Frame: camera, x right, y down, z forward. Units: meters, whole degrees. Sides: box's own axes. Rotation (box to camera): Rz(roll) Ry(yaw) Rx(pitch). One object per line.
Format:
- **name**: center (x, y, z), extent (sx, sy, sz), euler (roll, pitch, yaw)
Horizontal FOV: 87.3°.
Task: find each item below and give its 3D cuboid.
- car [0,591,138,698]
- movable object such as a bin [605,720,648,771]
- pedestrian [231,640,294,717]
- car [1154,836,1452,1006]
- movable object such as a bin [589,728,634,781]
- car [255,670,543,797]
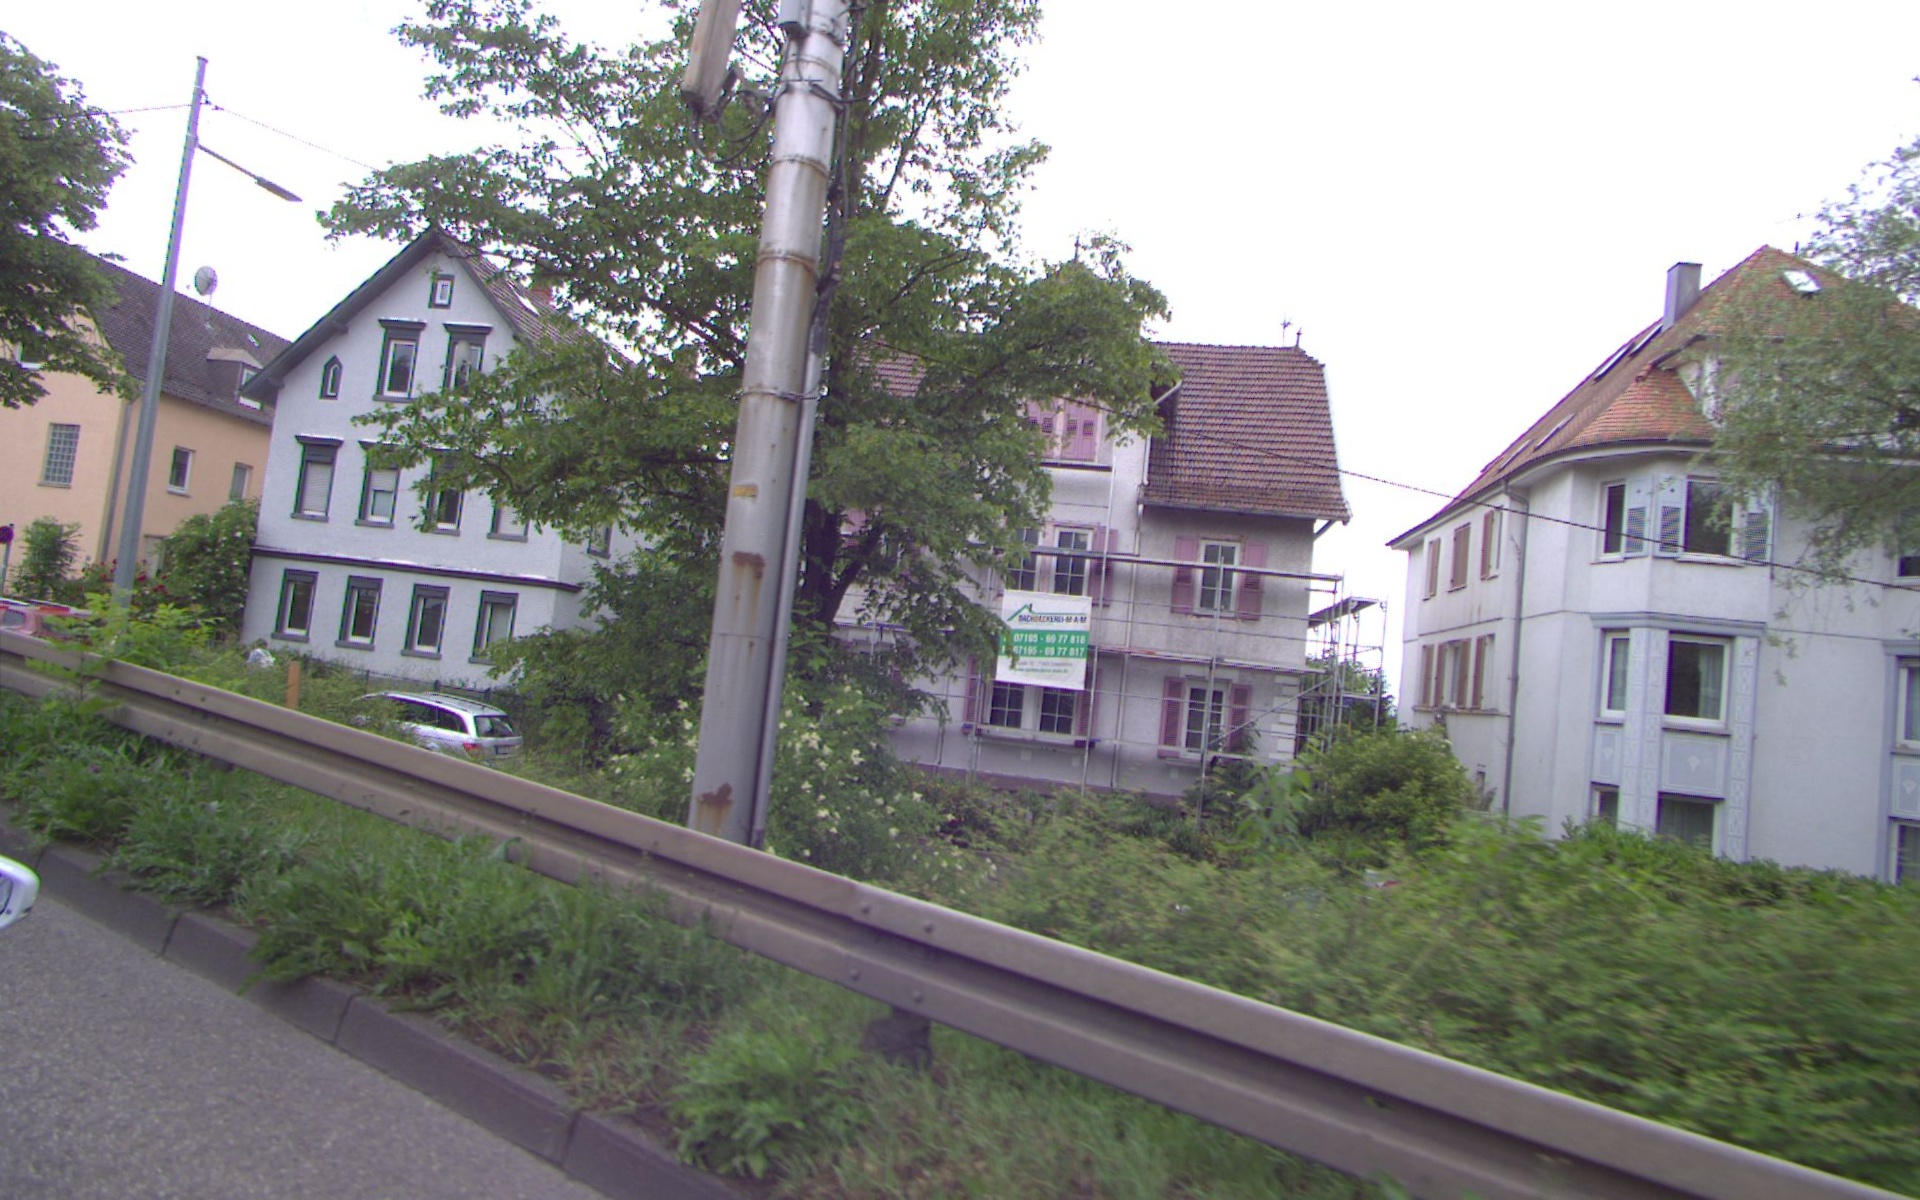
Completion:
- **car**: center (-19.080, 0.757, 19.931), extent (4.124, 1.687, 1.792), euler (9, -4, 7)
- **movable object such as a bin**: center (-7.271, 3.161, 21.965), extent (0.569, 0.981, 0.539), euler (8, -1, 16)
- **pedestrian**: center (-14.502, 1.647, 20.935), extent (0.578, 1.495, 0.621), euler (8, -3, 11)
- **car**: center (5.148, 4.871, 15.562), extent (3.980, 1.462, 1.628), euler (9, -4, 9)
- **movable object such as a bin**: center (-7.342, 3.245, 21.212), extent (0.569, 0.981, 0.539), euler (8, -1, 16)
- **car**: center (-10.145, 2.381, 18.319), extent (4.349, 1.455, 1.628), euler (9, -4, 9)
